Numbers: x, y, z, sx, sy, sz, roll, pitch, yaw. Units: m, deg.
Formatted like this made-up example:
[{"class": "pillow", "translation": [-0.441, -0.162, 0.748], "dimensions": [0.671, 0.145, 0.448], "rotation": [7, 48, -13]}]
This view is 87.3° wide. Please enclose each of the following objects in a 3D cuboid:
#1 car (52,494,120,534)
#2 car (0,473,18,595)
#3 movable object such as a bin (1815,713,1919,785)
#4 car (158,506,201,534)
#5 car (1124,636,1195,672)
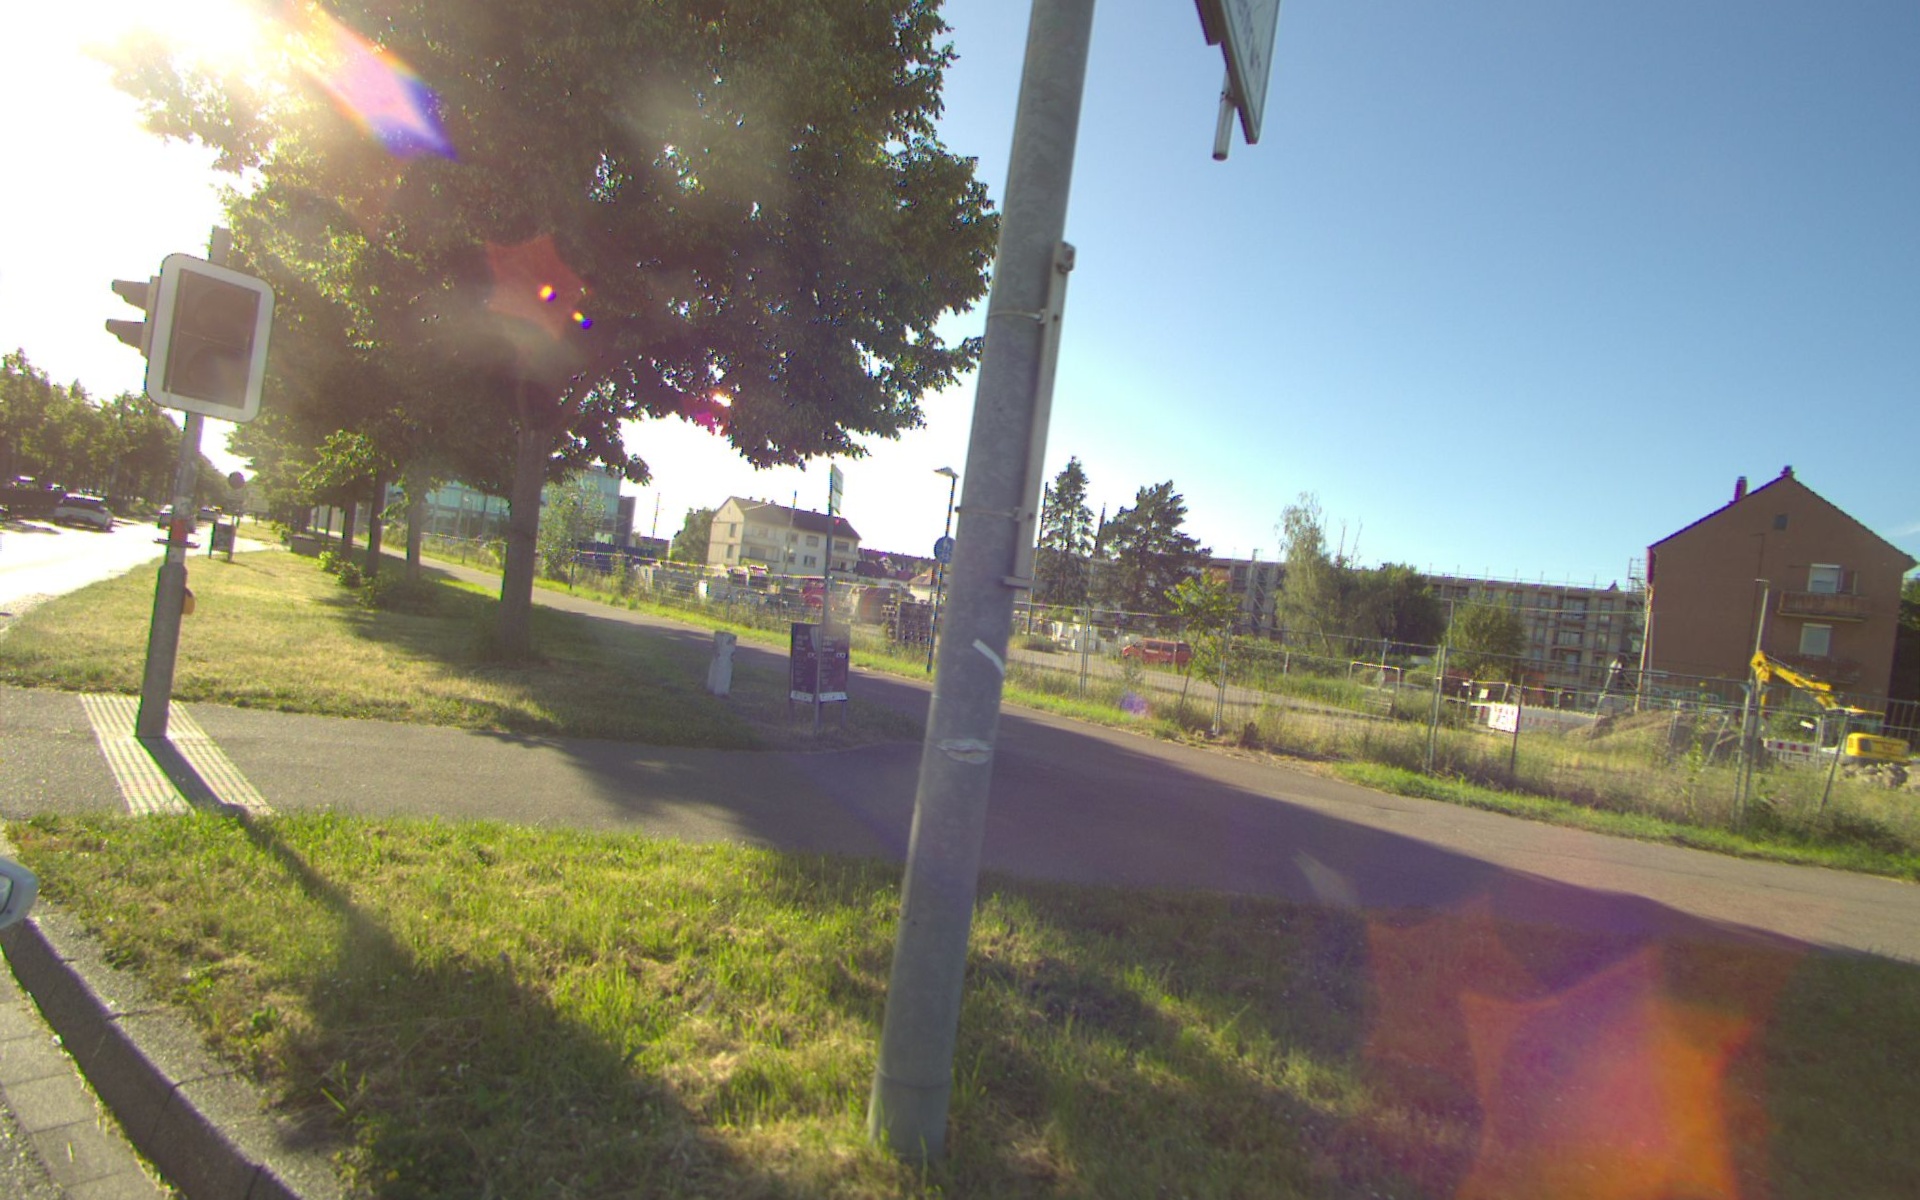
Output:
[{"class": "car", "translation": [-39.764, -3.909, 45.848], "dimensions": [1.933, 1.458, 3.959], "rotation": [8, -1, -37]}, {"class": "car", "translation": [-14.177, -1.002, 13.403], "dimensions": [1.789, 1.797, 3.960], "rotation": [8, -2, -37]}, {"class": "movable object such as a bin", "translation": [31.280, 5.082, 34.583], "dimensions": [1.962, 2.037, 2.071], "rotation": [7, -2, 13]}, {"class": "car", "translation": [-48.429, -4.926, 62.511], "dimensions": [1.933, 1.363, 3.960], "rotation": [9, -2, -37]}, {"class": "car", "translation": [12.799, 3.486, 64.818], "dimensions": [2.160, 1.748, 3.962], "rotation": [8, -1, -35]}]
